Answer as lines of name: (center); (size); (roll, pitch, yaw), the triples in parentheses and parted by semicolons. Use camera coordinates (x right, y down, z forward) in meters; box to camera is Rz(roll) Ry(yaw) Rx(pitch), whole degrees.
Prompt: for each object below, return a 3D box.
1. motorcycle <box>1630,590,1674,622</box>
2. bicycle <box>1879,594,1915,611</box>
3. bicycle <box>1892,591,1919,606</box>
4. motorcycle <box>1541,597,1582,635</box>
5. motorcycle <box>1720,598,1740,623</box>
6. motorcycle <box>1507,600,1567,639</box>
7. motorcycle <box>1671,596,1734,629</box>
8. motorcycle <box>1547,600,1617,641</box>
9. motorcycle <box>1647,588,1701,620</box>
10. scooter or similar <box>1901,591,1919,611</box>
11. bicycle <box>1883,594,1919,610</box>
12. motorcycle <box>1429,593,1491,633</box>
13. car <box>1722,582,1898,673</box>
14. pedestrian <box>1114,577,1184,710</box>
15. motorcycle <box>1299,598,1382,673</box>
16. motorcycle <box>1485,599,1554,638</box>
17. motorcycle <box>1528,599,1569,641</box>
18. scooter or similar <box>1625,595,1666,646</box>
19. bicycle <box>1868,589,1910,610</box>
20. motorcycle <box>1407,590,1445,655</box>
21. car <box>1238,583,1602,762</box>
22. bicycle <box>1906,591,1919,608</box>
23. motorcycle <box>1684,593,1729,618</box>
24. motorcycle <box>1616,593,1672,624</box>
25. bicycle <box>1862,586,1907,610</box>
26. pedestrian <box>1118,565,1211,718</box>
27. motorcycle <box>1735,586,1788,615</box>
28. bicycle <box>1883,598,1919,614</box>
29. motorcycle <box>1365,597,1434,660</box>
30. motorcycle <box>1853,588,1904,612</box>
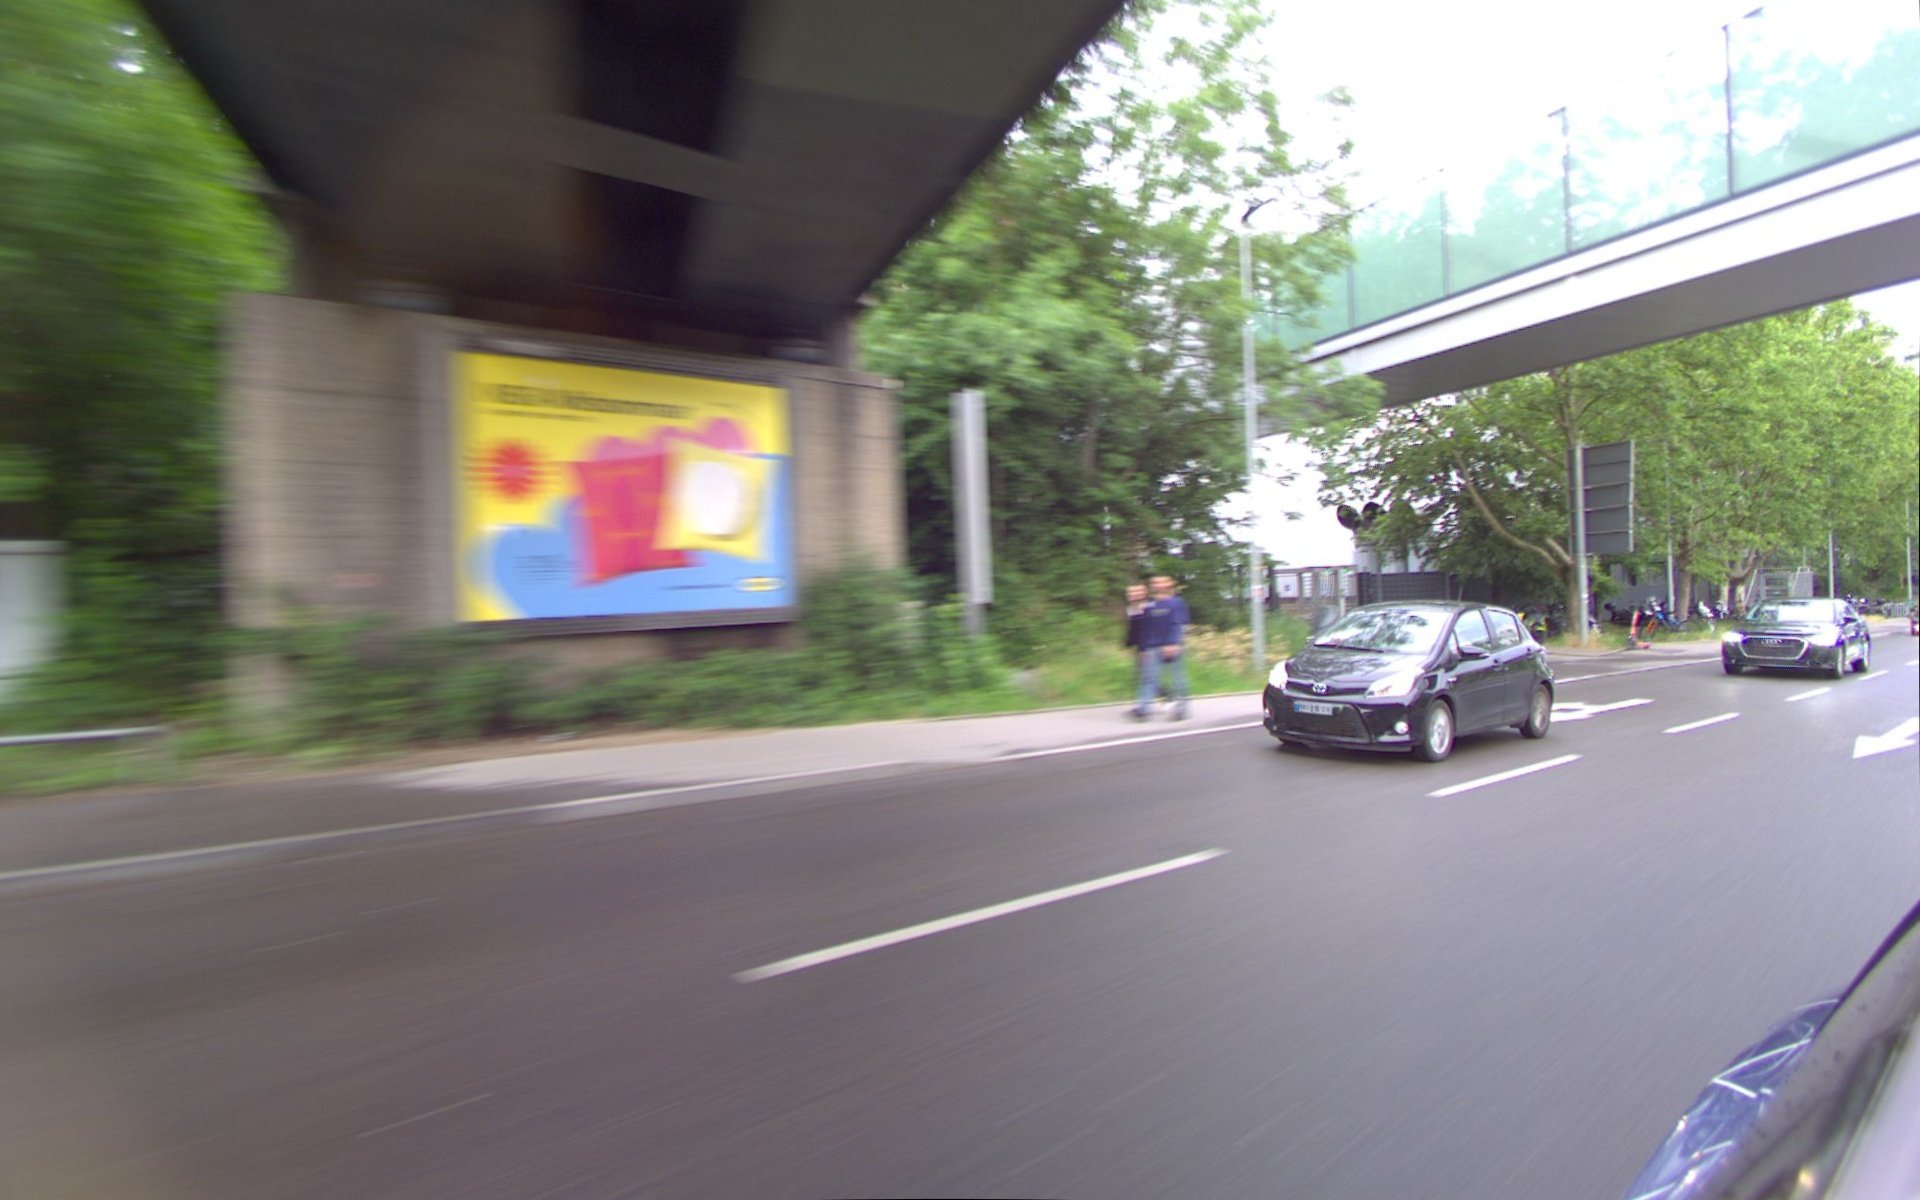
motorcycle: (31.348, 0.280, 45.854); (0.498, 1.382, 1.499); (-1, -2, -44)
bicycle: (55.822, 0.130, 60.288); (0.386, 1.018, 1.555); (-1, 0, -39)
bicycle: (59.974, -0.105, 63.880); (0.380, 0.951, 1.611); (-1, 1, -39)
motorcycle: (21.688, 0.551, 36.459); (1.956, 1.295, 0.646); (-1, 0, -40)
motorcycle: (37.894, 0.516, 49.800); (0.474, 1.160, 1.877); (-4, -1, 30)
motorcycle: (19.623, 0.646, 34.445); (1.816, 1.295, 0.522); (-1, -1, -8)
motorcycle: (27.156, 0.452, 37.052); (1.842, 1.206, 0.515); (-1, -1, 36)
motorcycle: (19.819, 0.640, 32.257); (1.842, 1.269, 0.622); (-1, -1, 36)
motorcycle: (33.015, 0.215, 46.824); (0.498, 1.382, 1.929); (-1, -2, -44)
scooter or similar: (55.621, 0.058, 58.913); (0.307, 1.105, 1.214); (-1, 0, -43)
bicycle: (57.191, 0.106, 61.536); (0.386, 0.970, 1.555); (-1, 0, -39)
motorcycle: (16.488, 0.426, 33.390); (2.028, 1.295, 0.350); (-1, -1, -11)
car: (17.651, 0.495, 20.907); (5.510, 1.565, 1.818); (-2, 0, -40)
pedestrian: (2.365, 0.521, 12.693); (0.567, 1.616, 0.653); (-1, 0, -28)
motorcycle: (6.288, 0.560, 16.675); (1.787, 1.151, 0.470); (-1, 0, -40)
motorcycle: (19.670, 0.631, 35.578); (2.234, 1.295, 0.522); (-1, 0, -8)
motorcycle: (18.289, 0.595, 31.484); (0.621, 1.269, 1.845); (-1, 0, 15)
scooter or similar: (18.451, 0.546, 27.231); (1.281, 1.315, 0.313); (-1, 0, -28)
bicycle: (54.048, -0.027, 58.869); (0.440, 1.182, 1.789); (-1, 0, -45)
motorcycle: (9.369, 0.427, 20.337); (0.467, 1.228, 1.923); (-1, 0, 31)
car: (5.131, 0.629, 10.979); (4.559, 1.488, 1.748); (-2, -1, -40)
bicycle: (59.144, -0.044, 62.116); (0.386, 1.018, 1.555); (-1, 0, -39)
motorcycle: (36.341, 0.284, 49.284); (0.548, 1.160, 1.645); (-2, -2, -28)
motorcycle: (30.035, 0.374, 44.472); (0.482, 1.274, 1.921); (-2, -2, -33)
bicycle: (52.656, -0.095, 57.646); (1.854, 1.365, 0.441); (-1, 0, 39)
pedestrian: (2.417, 0.468, 11.988); (0.874, 1.743, 0.613); (-1, 0, -29)
motorcycle: (34.495, 0.026, 43.570); (0.483, 1.165, 1.659); (-2, -2, -31)
bicycle: (56.911, 0.362, 61.237); (0.386, 0.970, 1.555); (-1, 0, -39)
motorcycle: (9.649, 0.593, 22.295); (0.536, 1.314, 1.946); (-1, 0, -5)
motorcycle: (49.983, 0.002, 55.112); (0.432, 1.289, 2.018); (-1, 0, -27)
